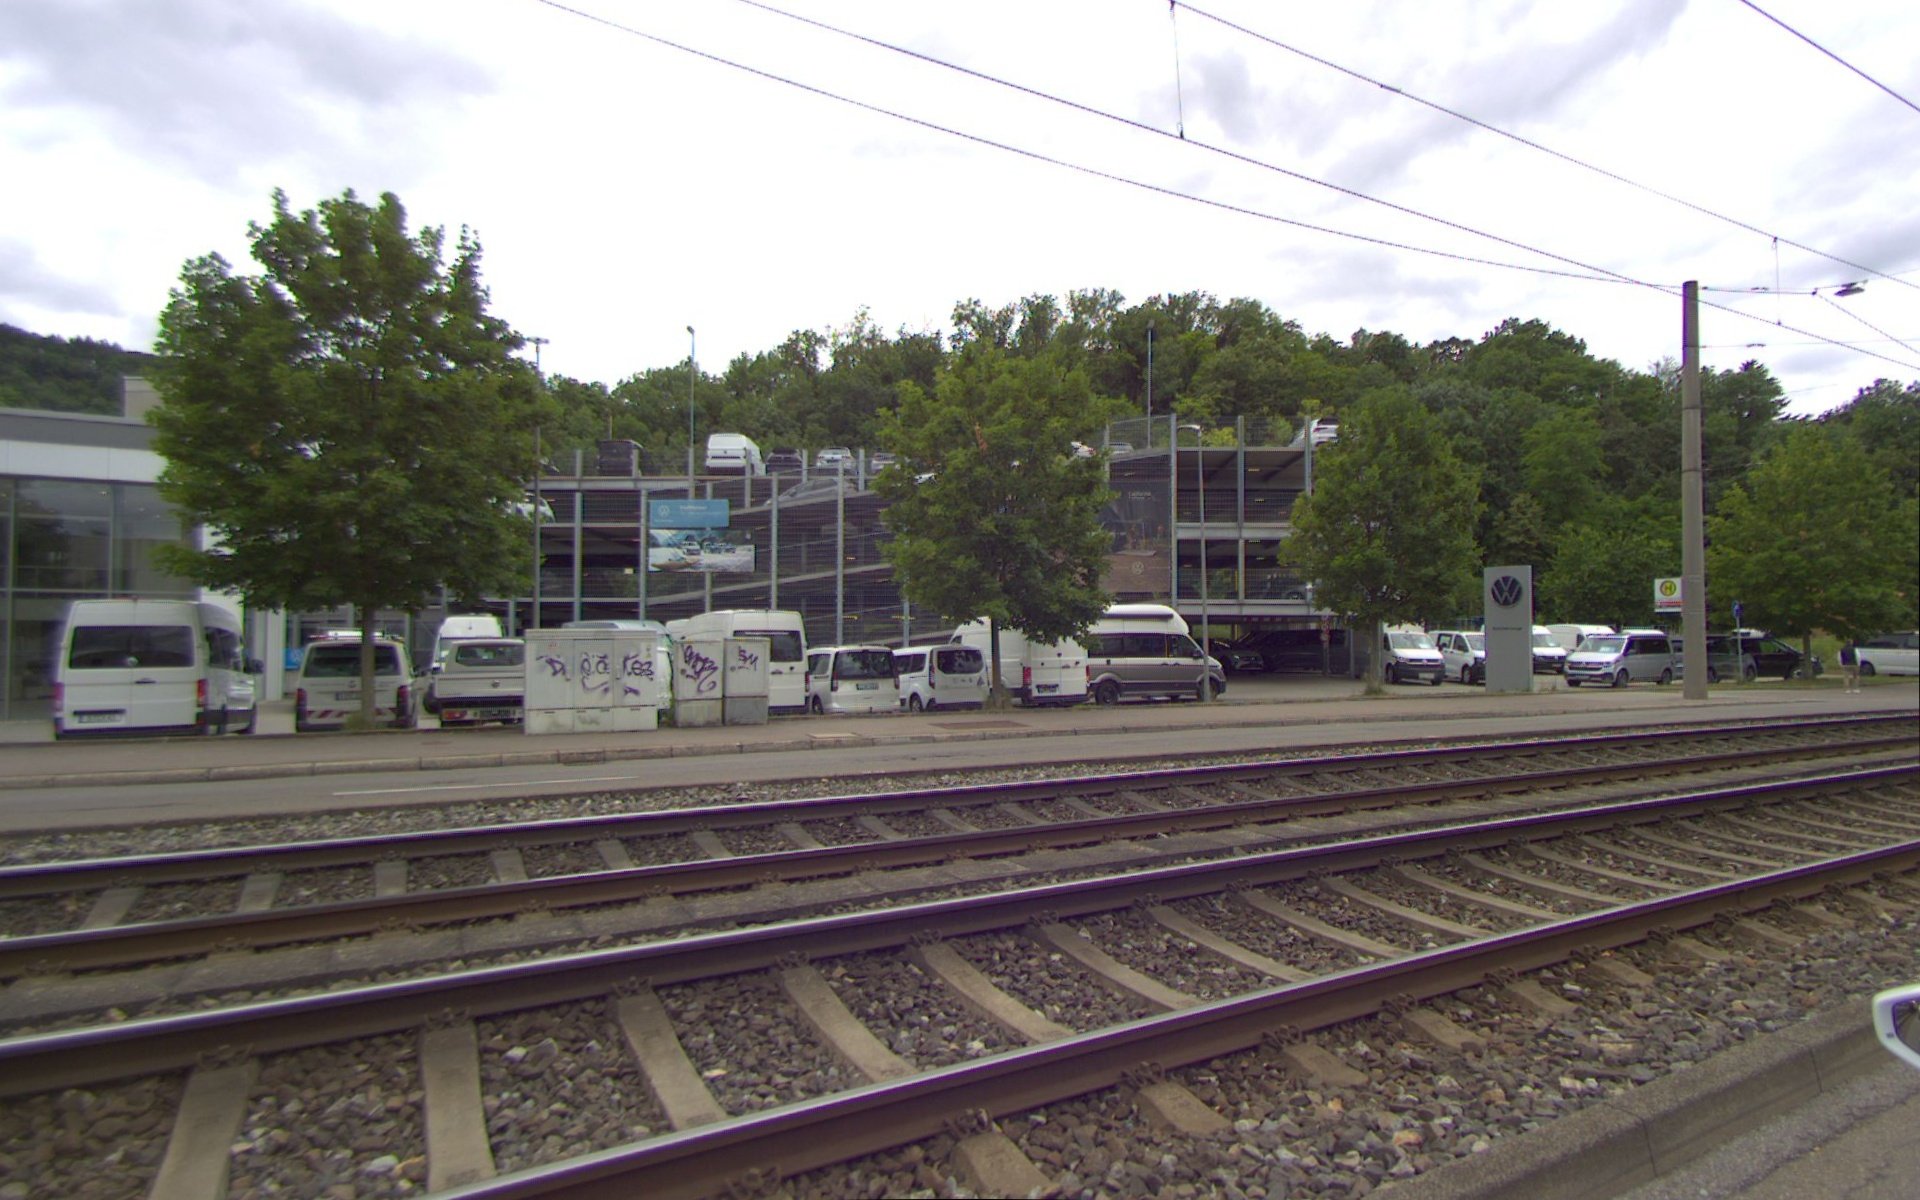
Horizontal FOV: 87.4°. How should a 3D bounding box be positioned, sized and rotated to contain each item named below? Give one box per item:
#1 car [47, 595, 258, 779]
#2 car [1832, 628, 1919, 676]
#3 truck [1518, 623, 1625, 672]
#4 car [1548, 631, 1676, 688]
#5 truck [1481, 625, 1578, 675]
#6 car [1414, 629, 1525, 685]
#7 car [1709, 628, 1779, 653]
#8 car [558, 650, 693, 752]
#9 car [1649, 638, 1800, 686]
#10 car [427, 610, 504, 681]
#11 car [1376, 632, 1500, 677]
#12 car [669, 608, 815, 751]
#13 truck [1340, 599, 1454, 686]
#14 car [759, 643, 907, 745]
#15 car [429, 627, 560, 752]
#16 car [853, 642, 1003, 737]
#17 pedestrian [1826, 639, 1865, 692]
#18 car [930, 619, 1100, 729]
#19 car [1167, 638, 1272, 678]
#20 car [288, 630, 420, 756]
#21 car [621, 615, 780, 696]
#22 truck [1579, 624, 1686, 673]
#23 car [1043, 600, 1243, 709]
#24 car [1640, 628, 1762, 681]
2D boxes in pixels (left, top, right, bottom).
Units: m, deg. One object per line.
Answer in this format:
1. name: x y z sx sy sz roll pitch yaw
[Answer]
1. car: -13.932 1.394 17.684 2.090 2.734 4.943 1 -2 -30
2. car: 40.104 2.195 42.128 2.129 1.913 5.061 1 -1 -12
3. truck: 34.471 2.675 56.865 2.420 2.622 5.779 0 -2 -1
4. car: 24.561 2.190 37.804 4.859 2.040 1.985 1 -2 -29
5. truck: 31.428 2.758 55.637 2.420 2.622 5.073 0 -2 -1
6. car: 19.723 2.196 39.166 1.960 2.040 4.732 0 -2 1
7. car: 66.835 3.433 85.706 4.314 2.040 2.001 0 -2 5
8. car: -7.438 2.102 22.067 1.980 1.936 4.346 1 -2 -30
9. car: 33.673 2.710 44.454 4.979 2.040 2.164 -1 -2 27
10. car: -15.423 1.427 31.540 1.972 2.040 4.831 1 -2 -24
11. car: 20.564 2.339 43.352 4.379 1.855 2.001 0 -2 0
12. car: -4.977 1.682 22.515 1.980 2.856 4.346 1 -2 -30
13. truck: 16.846 1.643 39.141 2.077 3.125 5.942 0 -2 3
14. car: -3.103 2.099 23.795 1.980 2.133 4.346 1 -2 -30
15. car: -9.384 1.661 20.055 1.980 2.201 4.346 1 -2 -30
16. car: -0.904 2.144 25.245 1.980 2.133 4.346 1 -2 -30
17. pedestrian: 29.336 2.158 33.283 1.031 1.678 0.713 1 0 -34
18. car: 1.315 1.869 26.963 2.217 2.636 5.455 1 -2 -26
19. car: 11.103 2.451 43.139 1.980 1.639 4.096 1 -3 -34
20. car: -11.881 1.702 19.858 1.980 2.201 4.346 1 -2 -30
21. car: -9.075 1.876 34.842 5.854 2.636 1.998 -1 -2 35
22. truck: 37.302 2.680 55.926 2.420 2.622 5.073 0 -2 -1
23. car: 5.583 1.620 30.488 5.856 3.059 2.102 1 -2 -25
24. car: 30.103 2.164 40.780 5.066 2.040 1.986 1 -2 -28
